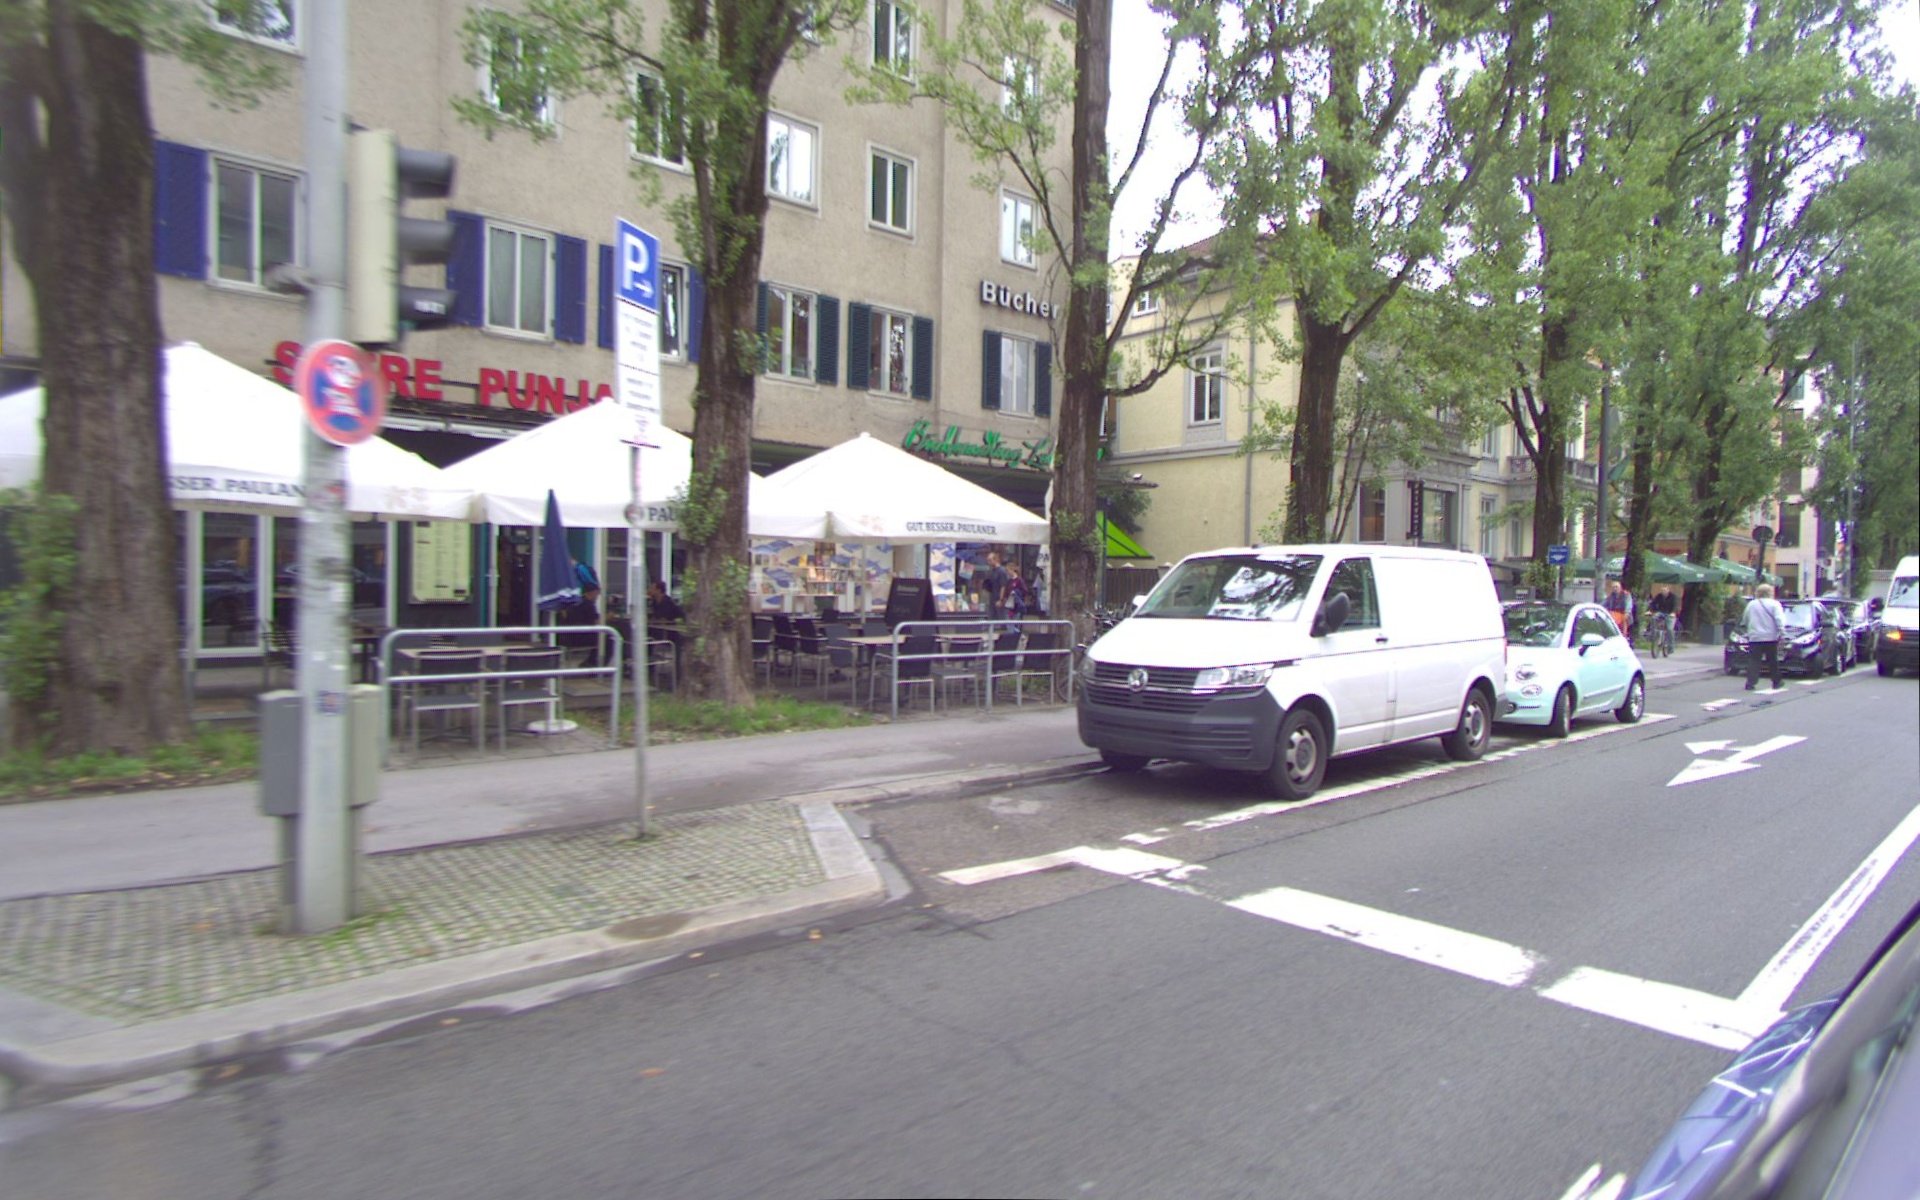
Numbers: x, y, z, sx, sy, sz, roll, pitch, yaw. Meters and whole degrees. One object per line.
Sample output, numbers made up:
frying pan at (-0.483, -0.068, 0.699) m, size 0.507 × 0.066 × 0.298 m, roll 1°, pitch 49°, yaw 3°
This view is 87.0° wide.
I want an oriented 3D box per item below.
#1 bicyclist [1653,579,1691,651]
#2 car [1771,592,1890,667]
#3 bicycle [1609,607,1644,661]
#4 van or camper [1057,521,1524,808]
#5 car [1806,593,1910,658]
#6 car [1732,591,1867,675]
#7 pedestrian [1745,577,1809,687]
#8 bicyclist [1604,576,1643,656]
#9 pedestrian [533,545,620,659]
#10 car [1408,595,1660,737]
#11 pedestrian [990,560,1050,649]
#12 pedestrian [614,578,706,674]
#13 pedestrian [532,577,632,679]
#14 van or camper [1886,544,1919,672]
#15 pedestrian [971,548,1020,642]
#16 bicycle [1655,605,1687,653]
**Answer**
bicyclist at (17.244, 0.346, 24.504) m, size 0.806 × 1.699 × 0.584 m, roll 0°, pitch 1°, yaw -44°
car at (20.036, 0.624, 23.255) m, size 3.538 × 1.546 × 1.475 m, roll 0°, pitch 1°, yaw -40°
bicycle at (14.262, 0.705, 21.649) m, size 1.350 × 1.107 × 0.285 m, roll 0°, pitch 1°, yaw -43°
van or camper at (3.085, 0.415, 8.925) m, size 4.484 × 1.929 × 1.795 m, roll 0°, pitch 1°, yaw -40°
car at (23.425, 0.612, 26.362) m, size 3.538 × 1.546 × 1.475 m, roll 0°, pitch 1°, yaw -40°
car at (17.132, 0.620, 20.617) m, size 3.538 × 1.546 × 1.475 m, roll 0°, pitch 1°, yaw -40°
pedestrian at (13.792, 0.520, 17.087) m, size 0.787 × 1.779 × 0.758 m, roll 2°, pitch 1°, yaw 39°
bicyclist at (14.253, 0.336, 21.731) m, size 0.650 × 1.671 × 0.567 m, roll 0°, pitch 0°, yaw -43°
pedestrian at (-5.685, 0.022, 15.007) m, size 0.998 × 1.624 × 0.764 m, roll 0°, pitch 0°, yaw -40°
car at (6.905, 0.675, 12.056) m, size 3.421 × 1.414 × 1.475 m, roll 0°, pitch 1°, yaw -40°
pedestrian at (1.105, 0.079, 18.633) m, size 0.858 × 1.597 × 0.696 m, roll 0°, pitch 0°, yaw -40°
pedestrian at (-4.017, 0.326, 13.560) m, size 1.004 × 1.231 × 0.668 m, roll 0°, pitch 0°, yaw -37°
pedestrian at (-4.797, 0.337, 12.847) m, size 1.004 × 1.231 × 0.775 m, roll 0°, pitch 0°, yaw -37°
van or camper at (21.685, 0.154, 21.599) m, size 6.525 × 2.516 × 1.997 m, roll 0°, pitch 0°, yaw -40°
pedestrian at (0.663, -0.101, 19.159) m, size 0.668 × 1.741 × 0.629 m, roll 1°, pitch 0°, yaw -39°
bicycle at (17.170, 0.694, 24.417) m, size 1.350 × 1.107 × 0.338 m, roll 0°, pitch 1°, yaw -43°
